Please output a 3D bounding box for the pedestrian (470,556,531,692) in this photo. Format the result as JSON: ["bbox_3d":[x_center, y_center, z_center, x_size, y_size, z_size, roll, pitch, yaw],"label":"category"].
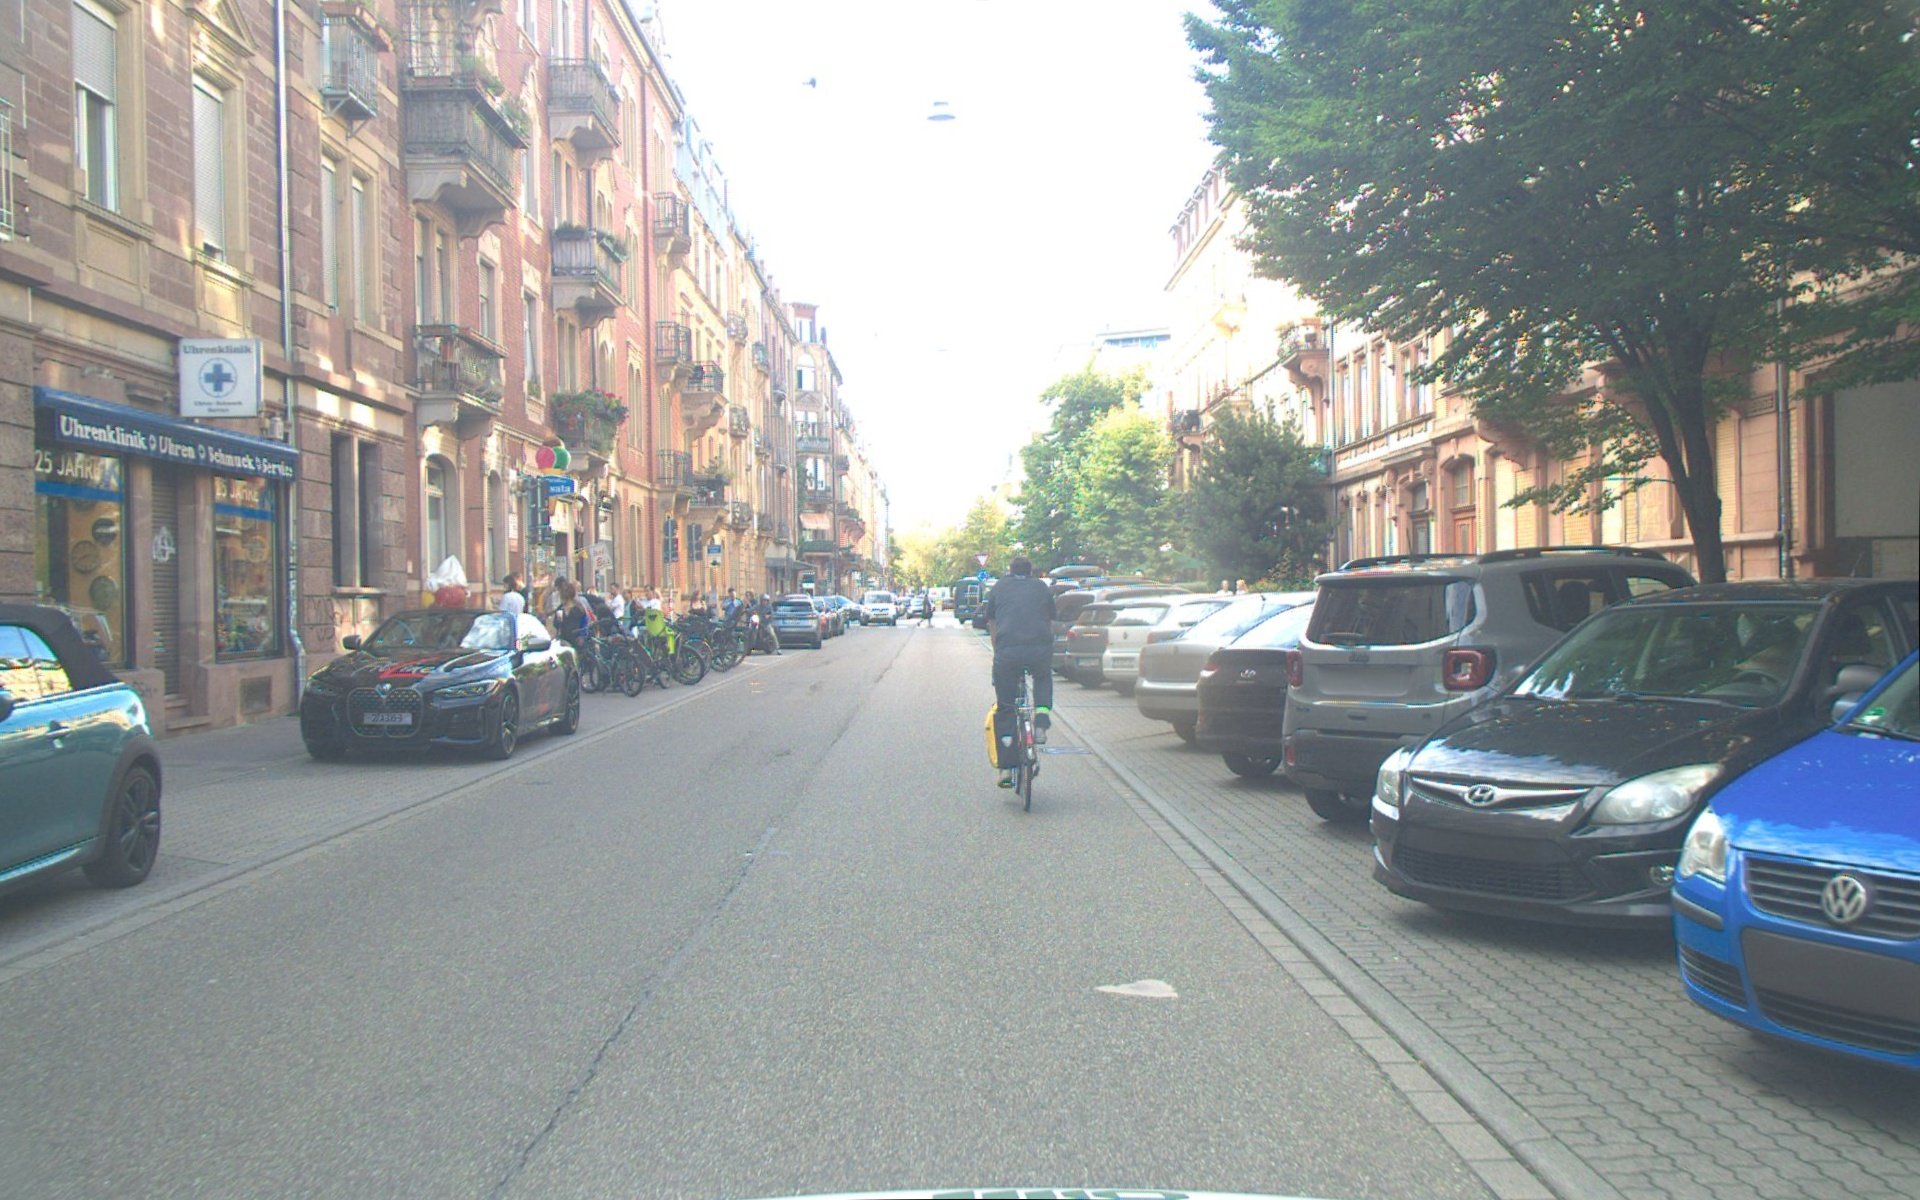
[{"bbox_3d":[-7.015,0.361,25.261,0.630,2.049,0.629,0,0,27],"label":"pedestrian"}]

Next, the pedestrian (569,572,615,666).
[{"bbox_3d":[-7.533,0.378,33.821,0.753,1.886,0.658,0,0,-32],"label":"pedestrian"}]

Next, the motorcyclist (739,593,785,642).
[{"bbox_3d":[-5.255,0.454,43.922,1.001,1.267,0.796,0,0,-27],"label":"motorcyclist"}]

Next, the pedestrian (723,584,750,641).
[{"bbox_3d":[-7.317,0.414,54.205,0.740,1.840,0.863,0,0,3],"label":"pedestrian"}]

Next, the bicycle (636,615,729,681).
[{"bbox_3d":[-4.975,0.846,29.676,1.554,1.140,0.583,0,0,-38],"label":"bicycle"}]

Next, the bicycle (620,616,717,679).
[{"bbox_3d":[-5.432,0.871,30.871,1.720,1.140,0.548,0,0,-38],"label":"bicycle"}]

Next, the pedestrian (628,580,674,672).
[{"bbox_3d":[-6.079,0.502,32.566,0.591,1.782,0.946,0,0,11],"label":"pedestrian"}]

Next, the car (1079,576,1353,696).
[{"bbox_3d":[3.949,0.537,25.283,3.952,1.475,1.716,-5,0,-33],"label":"car"}]

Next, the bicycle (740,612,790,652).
[{"bbox_3d":[-5.378,0.865,45.640,0.472,1.078,1.904,1,0,23],"label":"bicycle"}]

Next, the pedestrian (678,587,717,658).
[{"bbox_3d":[-6.295,0.526,39.661,0.894,1.690,0.826,0,0,-9],"label":"pedestrian"}]

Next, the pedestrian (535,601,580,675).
[{"bbox_3d":[-7.387,0.694,30.354,0.709,1.336,0.606,0,0,-5],"label":"pedestrian"}]

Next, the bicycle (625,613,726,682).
[{"bbox_3d":[-5.196,0.854,30.287,1.772,1.221,0.583,0,0,-38],"label":"bicycle"}]

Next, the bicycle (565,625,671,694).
[{"bbox_3d":[-5.367,0.928,25.951,1.646,1.048,0.409,0,0,20],"label":"bicycle"}]

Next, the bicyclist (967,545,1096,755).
[{"bbox_3d":[0.515,0.361,12.295,0.914,1.510,0.747,0,0,-1],"label":"bicyclist"}]

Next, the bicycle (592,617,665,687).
[{"bbox_3d":[-5.597,0.861,27.982,0.566,1.109,1.739,0,0,12],"label":"bicycle"}]

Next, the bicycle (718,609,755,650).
[{"bbox_3d":[-6.115,0.798,45.308,0.482,1.114,1.906,1,0,8],"label":"bicycle"}]

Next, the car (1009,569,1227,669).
[{"bbox_3d":[3.447,0.401,36.659,4.544,1.815,1.809,-4,2,-2],"label":"car"}]

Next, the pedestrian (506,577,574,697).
[{"bbox_3d":[-6.333,0.546,24.970,0.746,1.790,0.665,0,0,29],"label":"pedestrian"}]

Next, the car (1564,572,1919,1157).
[{"bbox_3d":[4.065,0.610,5.425,3.943,1.463,1.709,-3,1,-28],"label":"car"}]

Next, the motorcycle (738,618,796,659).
[{"bbox_3d":[-5.119,0.992,43.734,0.784,1.012,2.478,0,0,-26],"label":"motorcycle"}]

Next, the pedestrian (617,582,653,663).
[{"bbox_3d":[-6.985,0.477,35.547,0.558,1.725,0.640,0,0,-32],"label":"pedestrian"}]

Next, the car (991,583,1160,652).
[{"bbox_3d":[3.188,0.443,45.197,4.408,1.762,1.975,-1,1,-36],"label":"car"}]

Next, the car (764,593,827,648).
[{"bbox_3d":[-5.062,0.596,51.355,1.789,1.606,5.259,0,0,-4],"label":"car"}]

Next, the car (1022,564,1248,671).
[{"bbox_3d":[3.541,0.328,33.198,4.349,1.854,1.735,-3,0,-33],"label":"car"}]

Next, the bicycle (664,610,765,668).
[{"bbox_3d":[-5.255,0.818,35.556,0.792,1.179,2.261,0,0,36],"label":"bicycle"}]

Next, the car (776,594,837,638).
[{"bbox_3d":[-5.784,0.586,62.736,1.953,1.572,4.425,-1,0,-2],"label":"car"}]

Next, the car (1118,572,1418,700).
[{"bbox_3d":[4.311,0.476,22.940,3.958,1.486,1.862,-3,-1,-37],"label":"car"}]

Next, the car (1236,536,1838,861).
[{"bbox_3d":[3.879,0.489,10.888,3.956,1.728,1.829,-2,1,-36],"label":"car"}]

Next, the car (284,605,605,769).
[{"bbox_3d":[-4.955,0.749,16.714,1.775,1.374,5.113,0,0,-2],"label":"car"}]

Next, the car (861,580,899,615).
[{"bbox_3d":[-4.312,-0.116,90.035,1.878,1.860,4.437,0,0,0],"label":"car"}]

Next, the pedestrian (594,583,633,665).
[{"bbox_3d":[-7.335,0.502,35.024,0.657,1.725,0.579,0,0,-32],"label":"pedestrian"}]

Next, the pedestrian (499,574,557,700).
[{"bbox_3d":[-6.750,0.566,25.839,0.634,1.925,0.600,0,0,29],"label":"pedestrian"}]

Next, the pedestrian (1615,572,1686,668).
[{"bbox_3d":[9.495,0.278,22.746,0.565,1.302,0.710,1,-2,-39],"label":"pedestrian"}]

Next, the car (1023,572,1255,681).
[{"bbox_3d":[3.326,0.460,30.546,3.949,1.771,1.820,-3,0,-32],"label":"car"}]

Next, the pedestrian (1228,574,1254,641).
[{"bbox_3d":[7.103,0.184,41.792,0.561,1.688,0.632,0,0,-1],"label":"pedestrian"}]

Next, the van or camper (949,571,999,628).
[{"bbox_3d":[0.747,-0.035,93.269,2.481,3.090,4.456,-1,0,-3],"label":"van or camper"}]

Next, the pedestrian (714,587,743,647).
[{"bbox_3d":[-6.517,0.474,46.569,0.672,1.690,0.545,0,0,-31],"label":"pedestrian"}]

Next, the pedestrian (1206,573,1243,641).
[{"bbox_3d":[6.784,0.180,42.409,0.643,1.724,0.688,0,0,-44],"label":"pedestrian"}]

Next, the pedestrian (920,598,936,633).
[{"bbox_3d":[-1.657,0.792,85.871,0.615,1.769,0.776,-1,0,11],"label":"pedestrian"}]

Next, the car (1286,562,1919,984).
[{"bbox_3d":[3.643,0.648,8.053,4.083,1.547,1.820,0,-1,-38],"label":"car"}]

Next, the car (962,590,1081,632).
[{"bbox_3d":[2.656,0.460,70.766,4.702,1.482,2.037,-4,2,-29],"label":"car"}]

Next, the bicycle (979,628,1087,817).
[{"bbox_3d":[0.497,0.830,12.183,0.652,1.198,2.496,0,0,-1],"label":"bicycle"}]

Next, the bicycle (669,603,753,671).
[{"bbox_3d":[-5.036,0.735,33.510,1.659,1.345,0.521,0,0,-37],"label":"bicycle"}]

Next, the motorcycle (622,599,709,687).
[{"bbox_3d":[-4.923,0.694,27.777,0.692,1.408,2.025,0,0,13],"label":"motorcycle"}]

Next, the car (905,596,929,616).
[{"bbox_3d":[-3.168,0.446,122.587,1.715,1.461,4.209,0,-1,-2],"label":"car"}]

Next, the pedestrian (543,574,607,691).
[{"bbox_3d":[-6.180,0.516,26.579,0.746,1.850,0.665,0,0,29],"label":"pedestrian"}]

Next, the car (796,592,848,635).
[{"bbox_3d":[-5.663,0.544,68.210,1.754,1.657,4.846,-1,0,-1],"label":"car"}]

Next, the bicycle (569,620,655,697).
[{"bbox_3d":[-5.298,0.875,25.153,1.551,1.136,0.372,0,0,38],"label":"bicycle"}]

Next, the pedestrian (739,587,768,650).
[{"bbox_3d":[-5.784,0.512,46.395,0.559,1.739,0.659,0,0,-36],"label":"pedestrian"}]

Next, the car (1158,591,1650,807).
[{"bbox_3d":[3.781,0.702,13.816,4.093,1.442,1.845,-2,1,-37],"label":"car"}]

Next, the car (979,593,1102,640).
[{"bbox_3d":[3.063,0.596,62.354,4.419,1.489,1.856,-4,2,-36],"label":"car"}]

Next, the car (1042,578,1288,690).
[{"bbox_3d":[3.509,0.541,27.973,3.961,1.575,1.843,-4,1,-38],"label":"car"}]

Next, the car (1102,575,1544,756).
[{"bbox_3d":[3.834,0.596,17.153,4.556,1.477,1.772,-3,1,-33],"label":"car"}]

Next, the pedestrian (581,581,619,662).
[{"bbox_3d":[-7.772,0.463,35.756,0.650,1.725,0.763,0,0,-1],"label":"pedestrian"}]

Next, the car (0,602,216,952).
[{"bbox_3d":[-4.803,0.734,7.115,1.637,1.440,4.009,0,0,-4],"label":"car"}]

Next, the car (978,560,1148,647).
[{"bbox_3d":[3.216,0.096,50.923,5.099,2.447,1.895,-2,0,-34],"label":"car"}]

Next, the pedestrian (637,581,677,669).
[{"bbox_3d":[-6.177,0.506,33.703,0.591,1.782,0.726,0,0,9],"label":"pedestrian"}]

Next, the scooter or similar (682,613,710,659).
[{"bbox_3d":[-6.208,0.839,38.940,0.593,1.074,0.921,0,0,-6],"label":"scooter or similar"}]
